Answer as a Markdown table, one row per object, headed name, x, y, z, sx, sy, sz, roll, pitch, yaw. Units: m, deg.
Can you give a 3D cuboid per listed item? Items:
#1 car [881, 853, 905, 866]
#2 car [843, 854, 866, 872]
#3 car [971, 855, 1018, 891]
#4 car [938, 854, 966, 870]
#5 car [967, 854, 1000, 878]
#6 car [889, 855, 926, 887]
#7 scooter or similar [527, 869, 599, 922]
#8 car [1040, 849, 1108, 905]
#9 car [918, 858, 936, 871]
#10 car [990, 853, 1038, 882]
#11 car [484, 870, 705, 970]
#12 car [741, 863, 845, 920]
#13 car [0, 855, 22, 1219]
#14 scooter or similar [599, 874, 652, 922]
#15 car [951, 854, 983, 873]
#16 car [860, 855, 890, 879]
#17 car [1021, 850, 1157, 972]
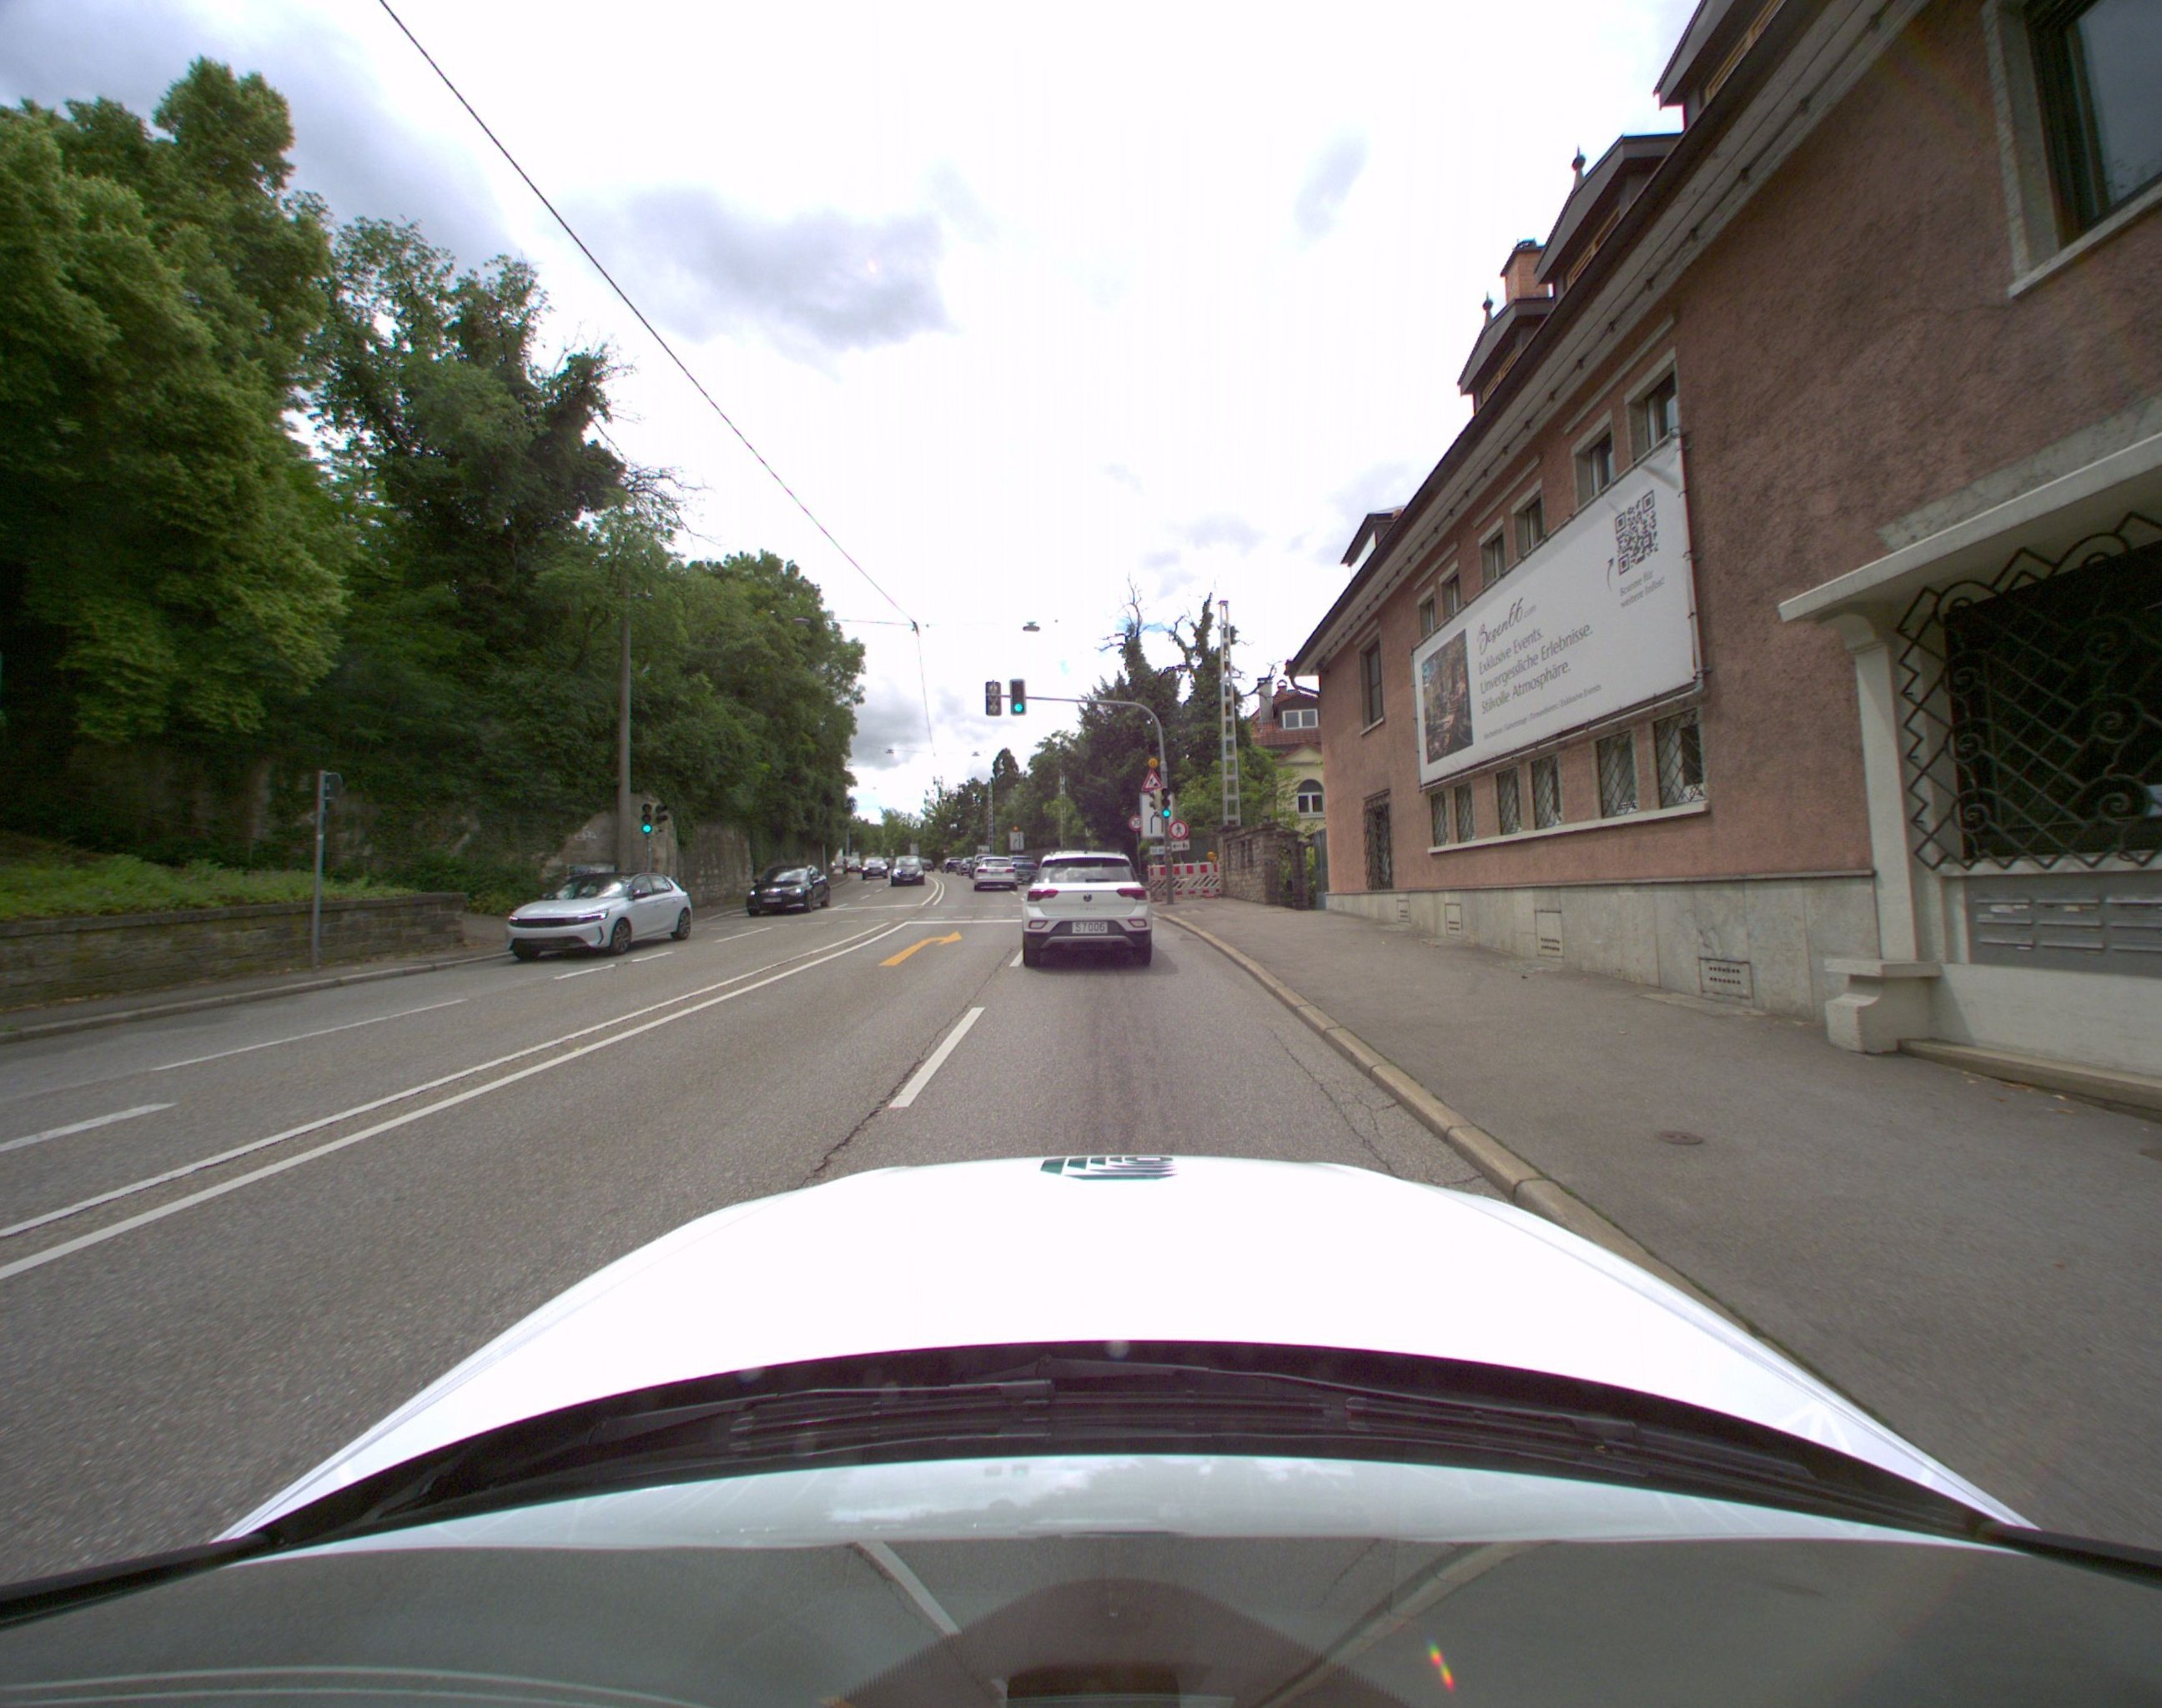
| name | x | y | z | sx | sy | sz | roll | pitch | yaw |
| --- | --- | --- | --- | --- | --- | --- | --- | --- | --- |
| car | -25.154 | 0.747 | 108.971 | 1.854 | 1.699 | 3.958 | -2 | 1 | -33 |
| car | -24.269 | 0.982 | 87.499 | 1.742 | 1.845 | 4.237 | -2 | 0 | -8 |
| car | -3.819 | 0.789 | 35.553 | 1.758 | 1.471 | 3.781 | 0 | 0 | -11 |
| car | -12.272 | 0.795 | 77.235 | 1.998 | 1.450 | 4.126 | -1 | 0 | -17 |
| car | -6.662 | 0.770 | 55.296 | 1.994 | 1.556 | 4.136 | 0 | 0 | -10 |
| car | -9.386 | 0.877 | 44.248 | 1.754 | 1.566 | 3.667 | -3 | 1 | -9 |
| scooter or similar | -13.191 | 1.071 | 20.783 | 0.429 | 1.238 | 1.358 | 3 | -4 | 36 |
| car | -0.298 | 0.684 | 25.633 | 1.756 | 1.609 | 3.787 | 0 | 0 | -7 |
| car | -17.424 | 1.161 | 91.820 | 1.783 | 1.454 | 3.980 | -1 | 0 | -14 |
| car | -3.675 | 0.733 | 44.251 | 1.996 | 1.414 | 4.131 | -2 | -1 | -13 |
| car | -8.785 | 1.111 | 15.166 | 1.711 | 1.403 | 4.021 | -3 | 1 | -2 |
| car | -8.766 | 1.092 | 25.217 | 1.678 | 1.418 | 4.426 | -3 | 1 | -2 |
| car | -5.769 | 0.866 | 1.518 | 1.843 | 1.632 | 4.360 | -1 | 1 | -1 |
| scooter or similar | -12.255 | 1.176 | 21.942 | 0.429 | 1.237 | 1.105 | 2 | -1 | 43 |
| car | -9.339 | 0.775 | 66.596 | 1.998 | 1.450 | 4.127 | -1 | 0 | -17 |
| car | -15.477 | 0.935 | 61.078 | 1.998 | 1.607 | 4.452 | -3 | 1 | -16 |
| car | 0.049 | 0.744 | 12.376 | 1.753 | 1.555 | 3.792 | 0 | 0 | -2 |
